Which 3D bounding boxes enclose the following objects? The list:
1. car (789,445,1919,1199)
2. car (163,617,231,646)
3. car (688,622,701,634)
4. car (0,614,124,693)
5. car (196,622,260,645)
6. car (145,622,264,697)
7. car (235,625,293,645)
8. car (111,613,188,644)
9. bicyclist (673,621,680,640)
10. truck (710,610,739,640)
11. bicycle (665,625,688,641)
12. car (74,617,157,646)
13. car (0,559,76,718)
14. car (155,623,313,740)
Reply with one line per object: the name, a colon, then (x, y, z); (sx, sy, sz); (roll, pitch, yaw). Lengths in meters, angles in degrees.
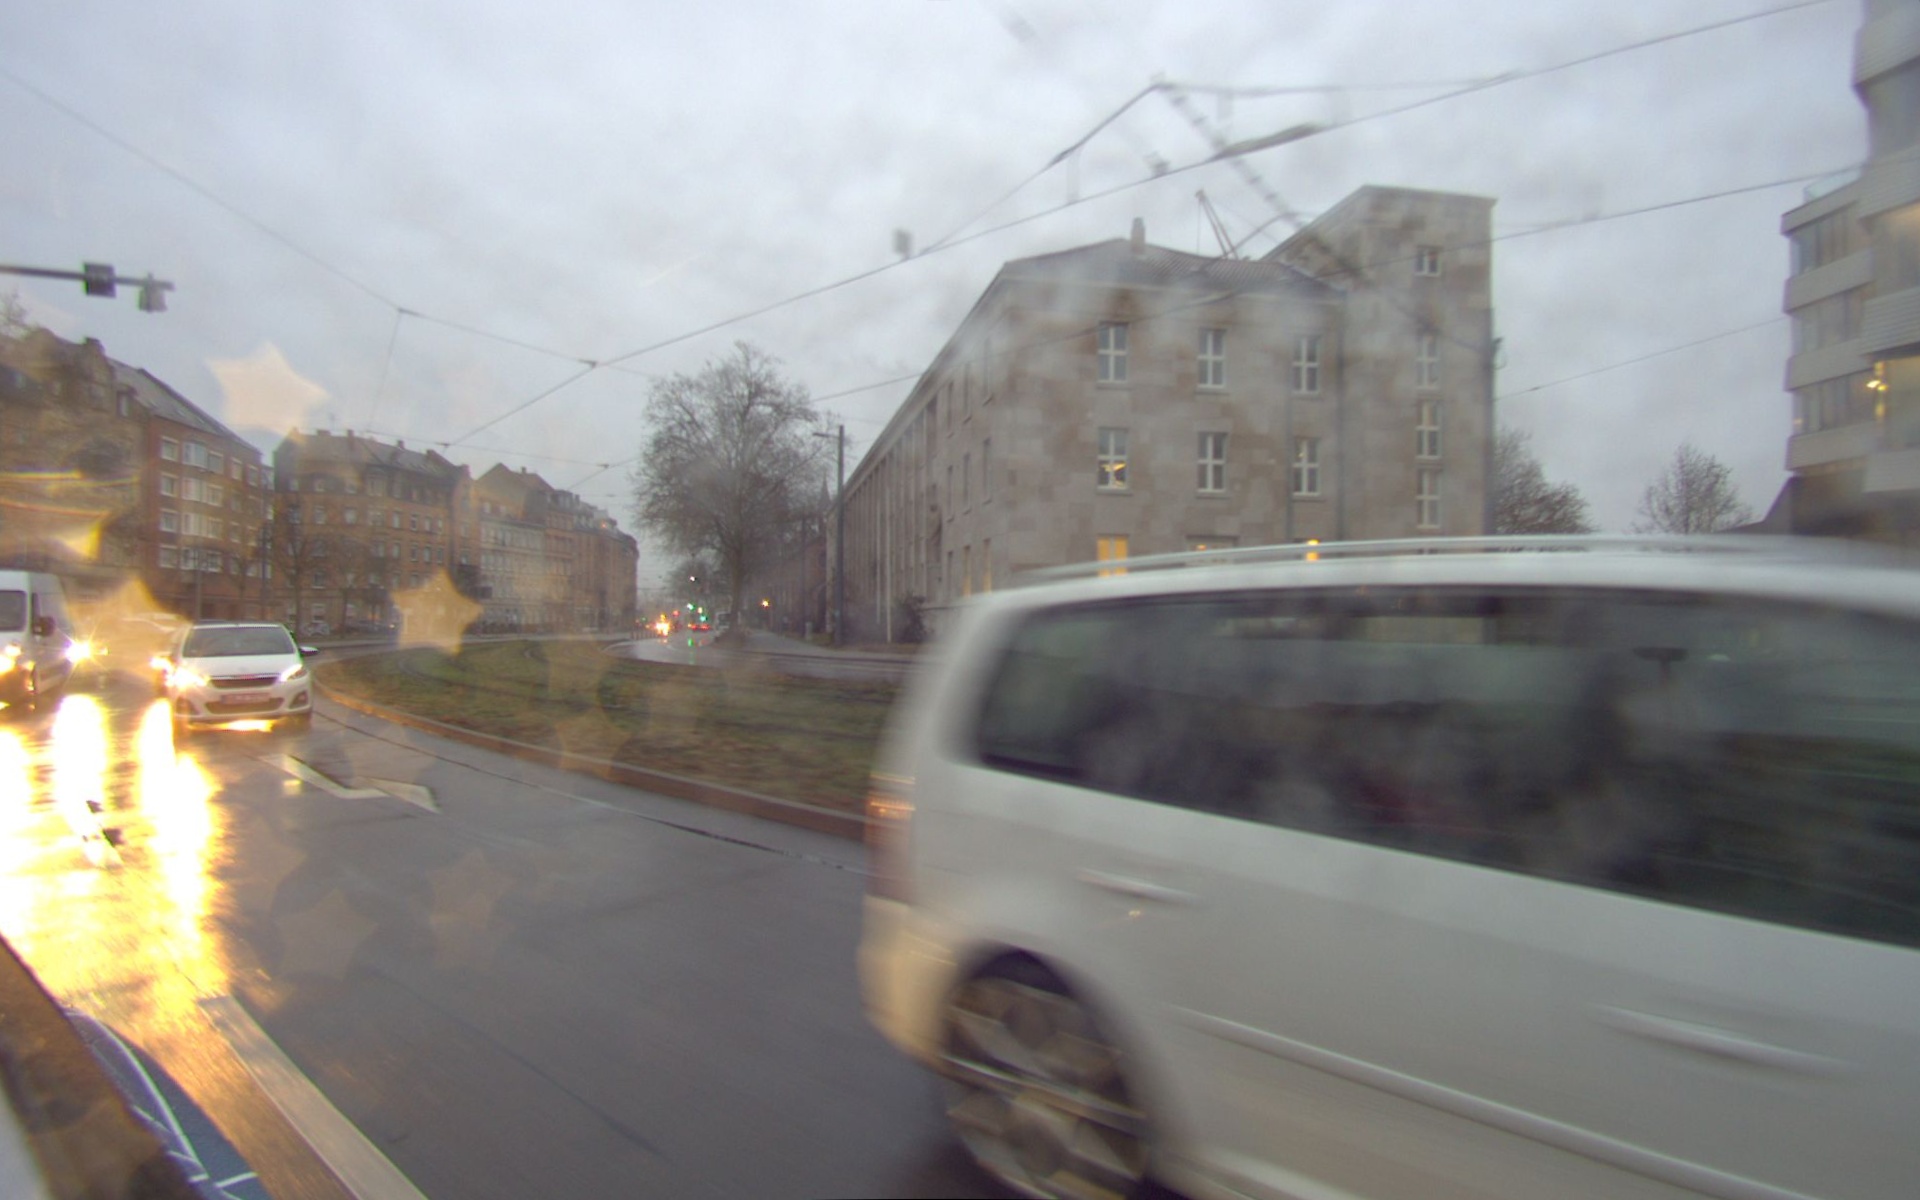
car: (1.640, 0.608, 2.043); (4.222, 1.611, 1.653); (-2, -1, 42)
car: (-45.256, 1.861, 60.106); (3.134, 1.636, 1.449); (1, -2, -35)
car: (-37.102, 3.852, 141.514); (1.662, 1.652, 3.656); (0, -2, -13)
car: (-21.477, 1.211, 24.157); (1.846, 1.701, 4.182); (0, -1, -33)
car: (-45.791, 2.092, 63.378); (3.133, 1.424, 1.385); (1, -2, -33)
car: (-16.651, 1.257, 22.486); (1.846, 1.486, 4.182); (0, -2, -33)
car: (-46.232, 2.292, 67.304); (3.133, 1.293, 1.385); (1, -2, -33)
car: (-43.827, 1.566, 54.817); (3.134, 1.636, 1.432); (1, -2, -35)
bicyclist: (-31.361, 3.344, 111.896); (0.766, 2.029, 0.832); (0, 0, -16)
truck: (-16.342, 1.745, 70.361); (1.808, 2.060, 4.008); (0, -2, -10)
bicycle: (-31.309, 3.638, 111.904); (2.411, 1.719, 0.848); (-1, 0, -17)
car: (-43.355, 1.603, 52.015); (3.134, 1.440, 1.432); (1, -2, -35)
car: (-17.208, 0.649, 17.625); (2.206, 2.481, 5.683); (0, -1, -36)
car: (-10.409, 1.057, 14.519); (1.663, 1.441, 3.354); (0, -1, -37)
